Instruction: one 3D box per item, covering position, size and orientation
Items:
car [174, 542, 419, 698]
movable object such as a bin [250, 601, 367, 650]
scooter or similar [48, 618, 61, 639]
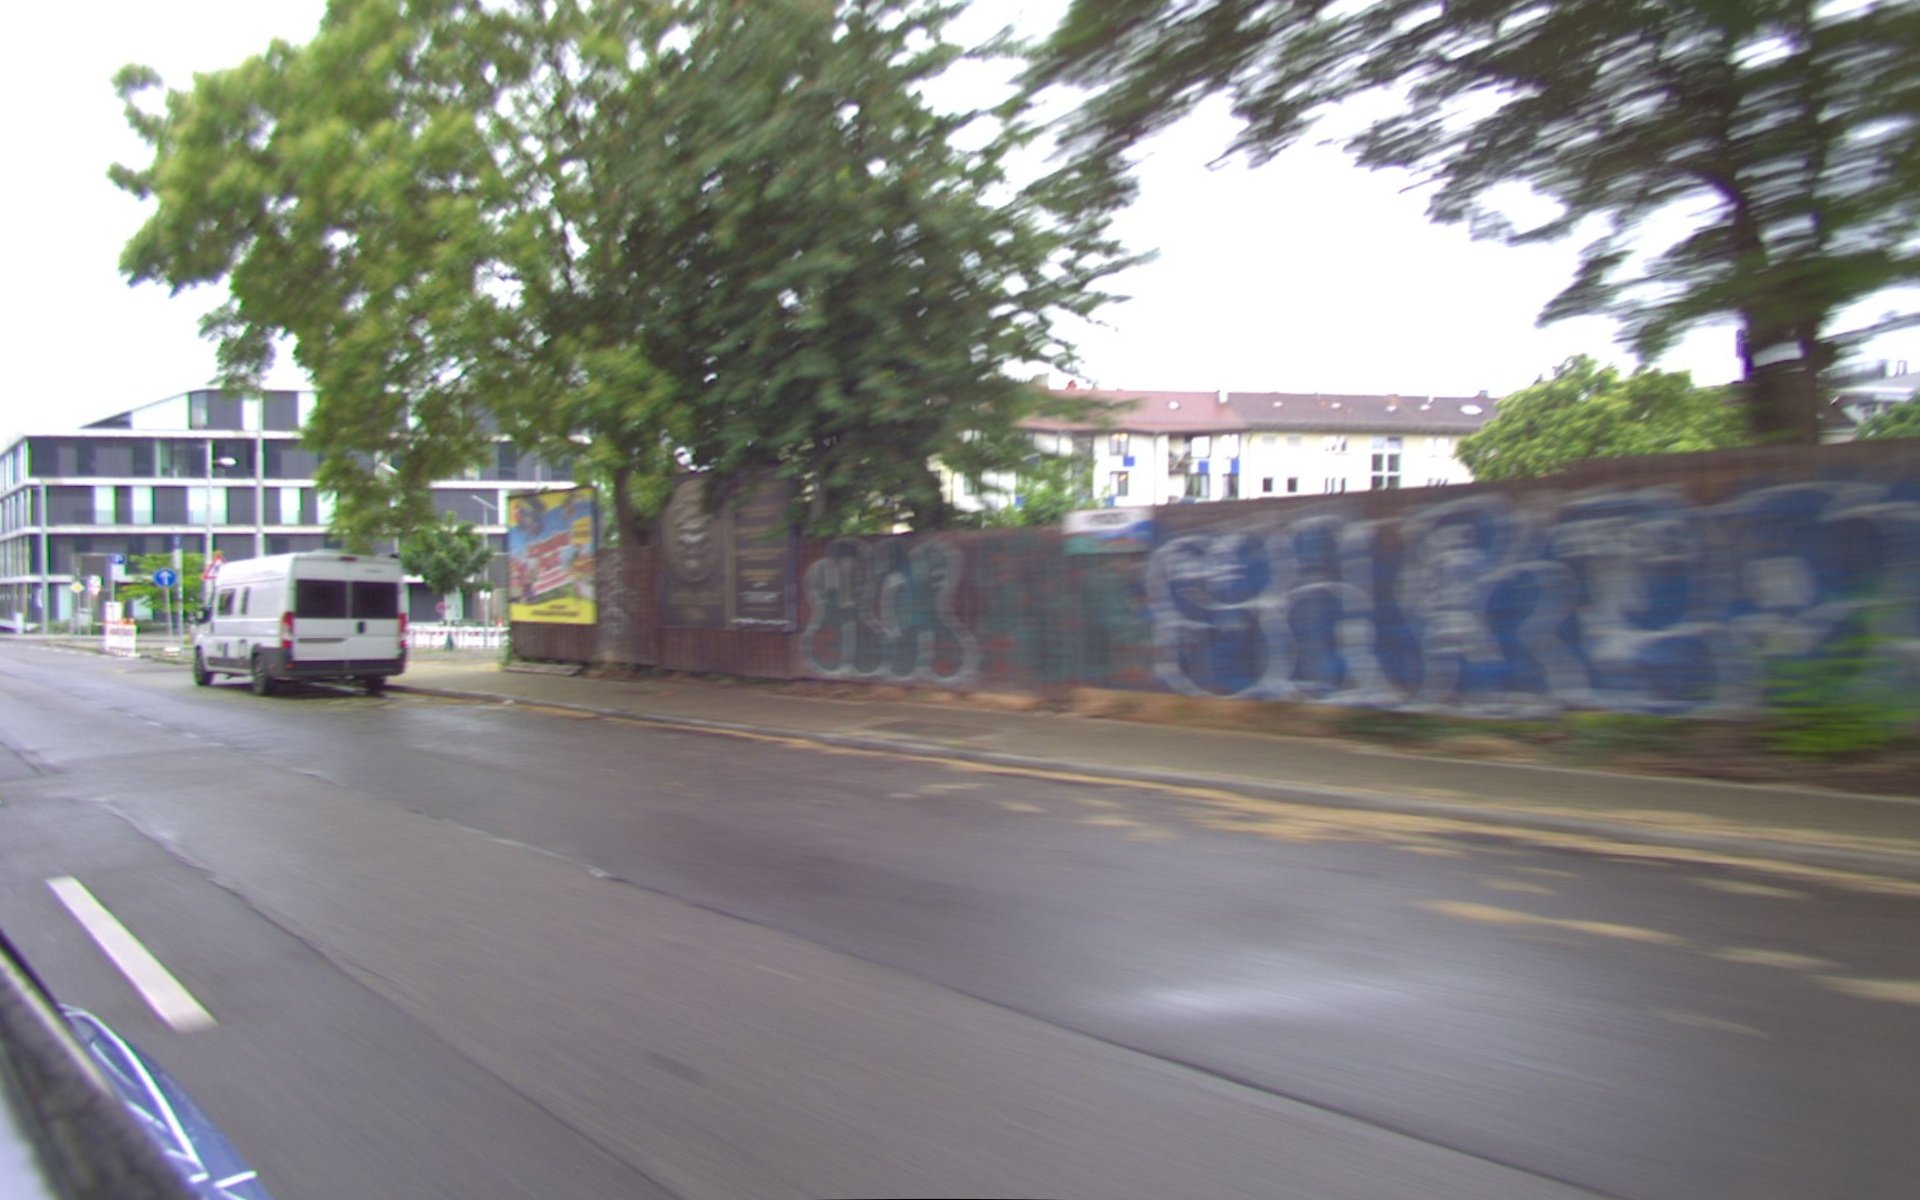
[{"bbox_3d":[-13.088,0.420,19.731,6.533,2.598,2.207,-1,-2,40],"label":"car"},{"bbox_3d":[-34.634,1.361,53.865,5.217,2.478,1.670,-1,-1,2],"label":"movable object such as a bin"},{"bbox_3d":[-56.719,1.785,63.377,1.231,1.258,0.491,-1,0,42],"label":"scooter or similar"}]
